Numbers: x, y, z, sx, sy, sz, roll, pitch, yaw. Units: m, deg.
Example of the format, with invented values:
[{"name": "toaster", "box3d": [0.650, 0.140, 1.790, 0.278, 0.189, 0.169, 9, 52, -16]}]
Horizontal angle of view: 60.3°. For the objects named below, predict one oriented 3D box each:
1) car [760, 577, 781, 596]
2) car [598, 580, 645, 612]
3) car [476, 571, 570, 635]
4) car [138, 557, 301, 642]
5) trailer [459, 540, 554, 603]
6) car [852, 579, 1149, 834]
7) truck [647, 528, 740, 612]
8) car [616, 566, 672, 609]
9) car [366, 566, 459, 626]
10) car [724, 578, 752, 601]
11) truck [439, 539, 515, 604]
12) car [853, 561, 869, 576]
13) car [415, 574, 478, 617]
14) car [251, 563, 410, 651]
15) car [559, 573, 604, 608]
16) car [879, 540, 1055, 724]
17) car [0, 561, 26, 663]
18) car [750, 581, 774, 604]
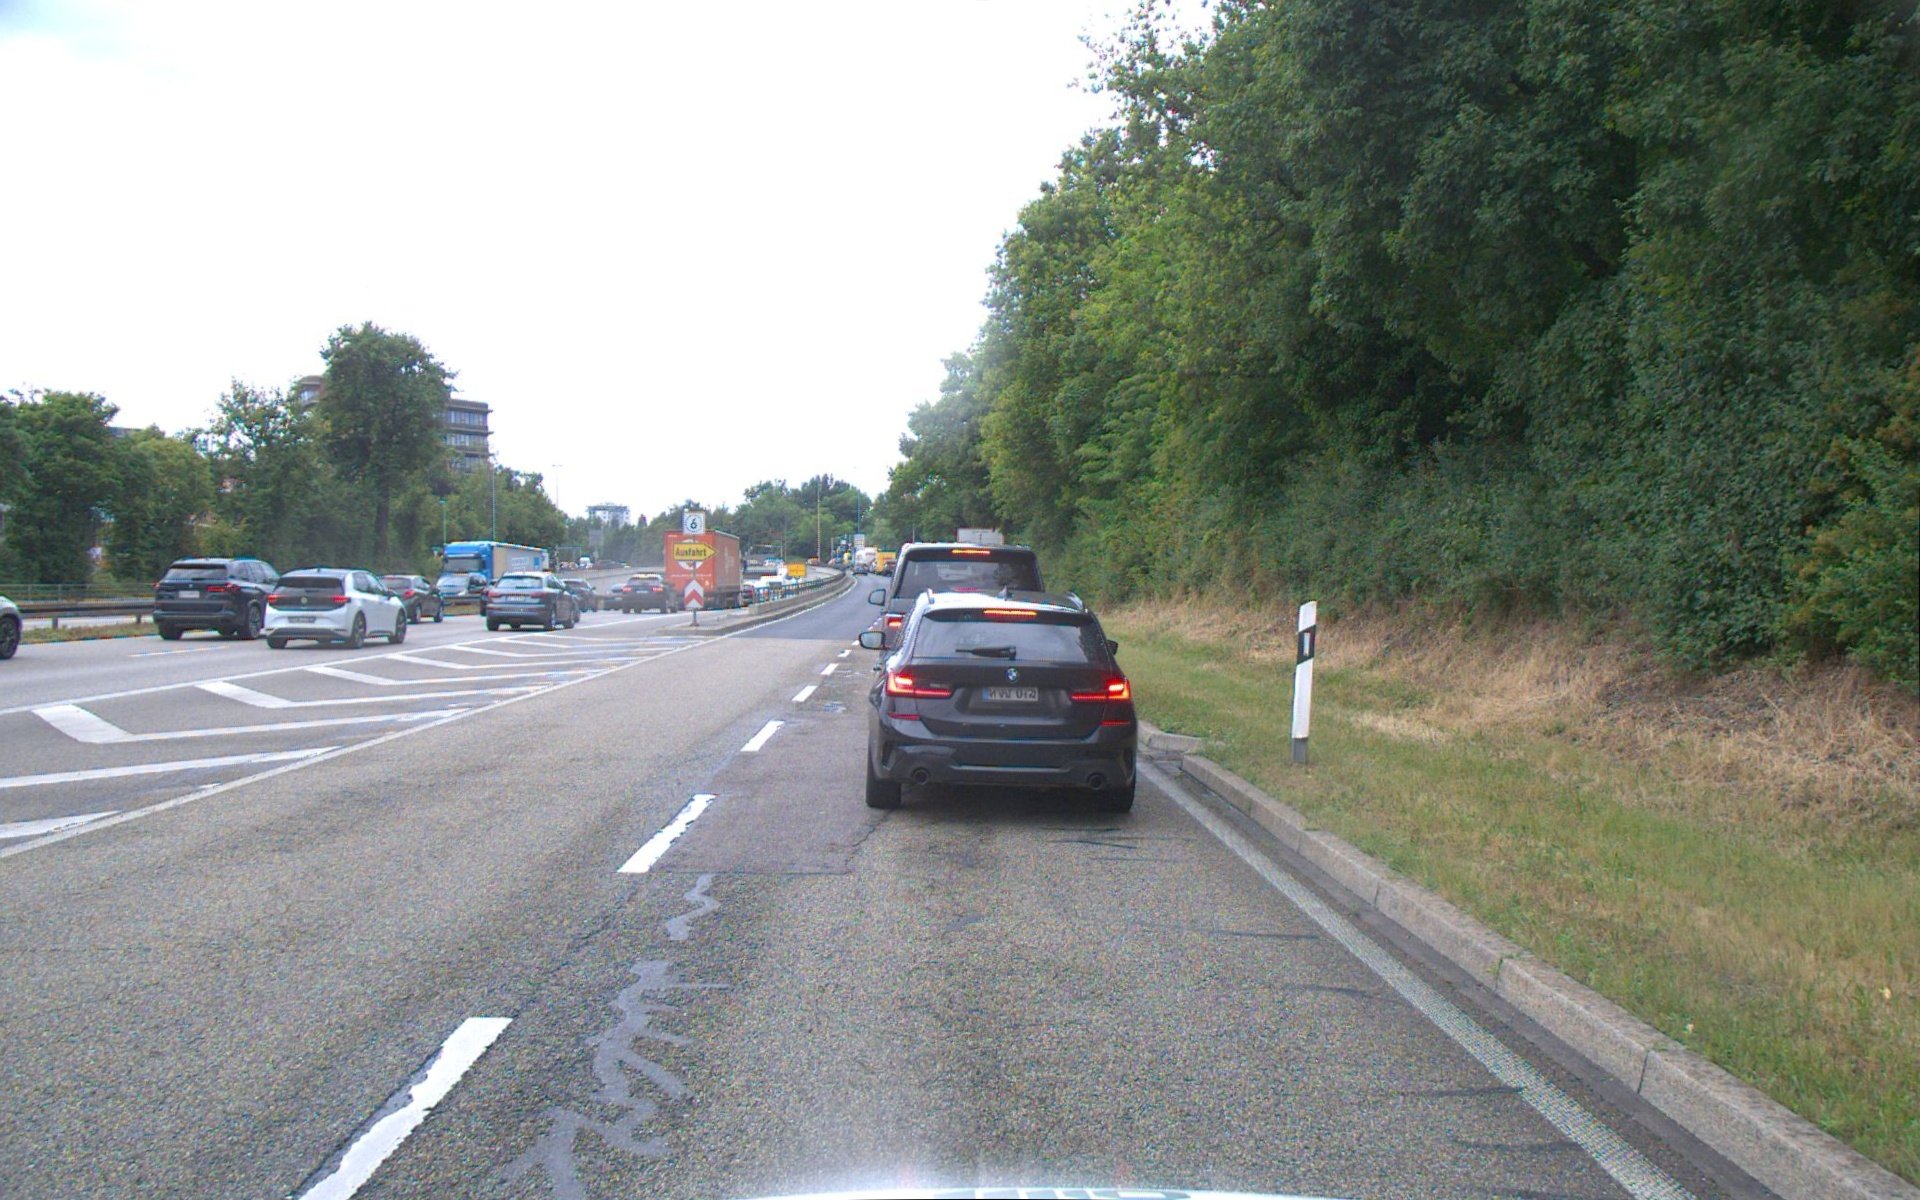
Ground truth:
[{"name": "car", "box3d": [-15.664, -1.133, 136.736, 1.526, 1.579, 3.997, 0, 1, -4]}, {"name": "car", "box3d": [-18.090, -0.204, 88.414, 1.822, 1.646, 3.998, 1, 0, -3]}, {"name": "car", "box3d": [-12.034, 0.055, 45.776, 1.756, 1.668, 3.998, 0, 1, -3]}, {"name": "car", "box3d": [-16.339, -0.006, 36.707, 1.836, 1.746, 3.999, 1, 0, -1]}, {"name": "trailer", "box3d": [-29.402, -1.754, 107.889, 2.631, 3.767, 13.257, 1, 0, -1]}, {"name": "car", "box3d": [0.159, 0.613, 11.975, 1.788, 1.508, 3.998, 0, 1, -3]}, {"name": "truck", "box3d": [-14.193, -1.606, 89.351, 3.420, 4.144, 13.585, 0, 1, -3]}, {"name": "car", "box3d": [-13.926, -0.538, 73.124, 1.823, 1.847, 3.998, 1, 0, -3]}, {"name": "car", "box3d": [-16.864, -0.115, 51.120, 1.683, 1.746, 3.997, 1, 0, -3]}, {"name": "car", "box3d": [-14.821, -0.714, 110.590, 1.743, 1.508, 3.995, 0, 1, -6]}, {"name": "truck", "box3d": [-29.407, -1.706, 101.007, 2.715, 3.775, 6.636, 1, 0, -1]}, {"name": "car", "box3d": [-12.095, -3.802, 201.623, 1.775, 1.741, 3.999, 0, 1, -1]}, {"name": "car", "box3d": [-25.516, -0.241, 82.312, 1.953, 2.049, 4.000, 0, 1, -1]}, {"name": "car", "box3d": [-12.642, 0.140, 33.510, 1.764, 1.632, 4.255, 1, 0, -3]}, {"name": "car", "box3d": [-17.851, -0.446, 78.139, 1.492, 1.545, 3.996, 1, 0, -5]}, {"name": "car", "box3d": [0.038, 0.330, 19.071, 1.786, 1.853, 3.999, 1, 0, -1]}, {"name": "car", "box3d": [-16.162, 0.203, 25.197, 1.694, 1.629, 3.927, 0, 1, -1]}, {"name": "car", "box3d": [-14.381, -0.525, 120.433, 1.526, 1.579, 3.815, 1, 0, -4]}]
